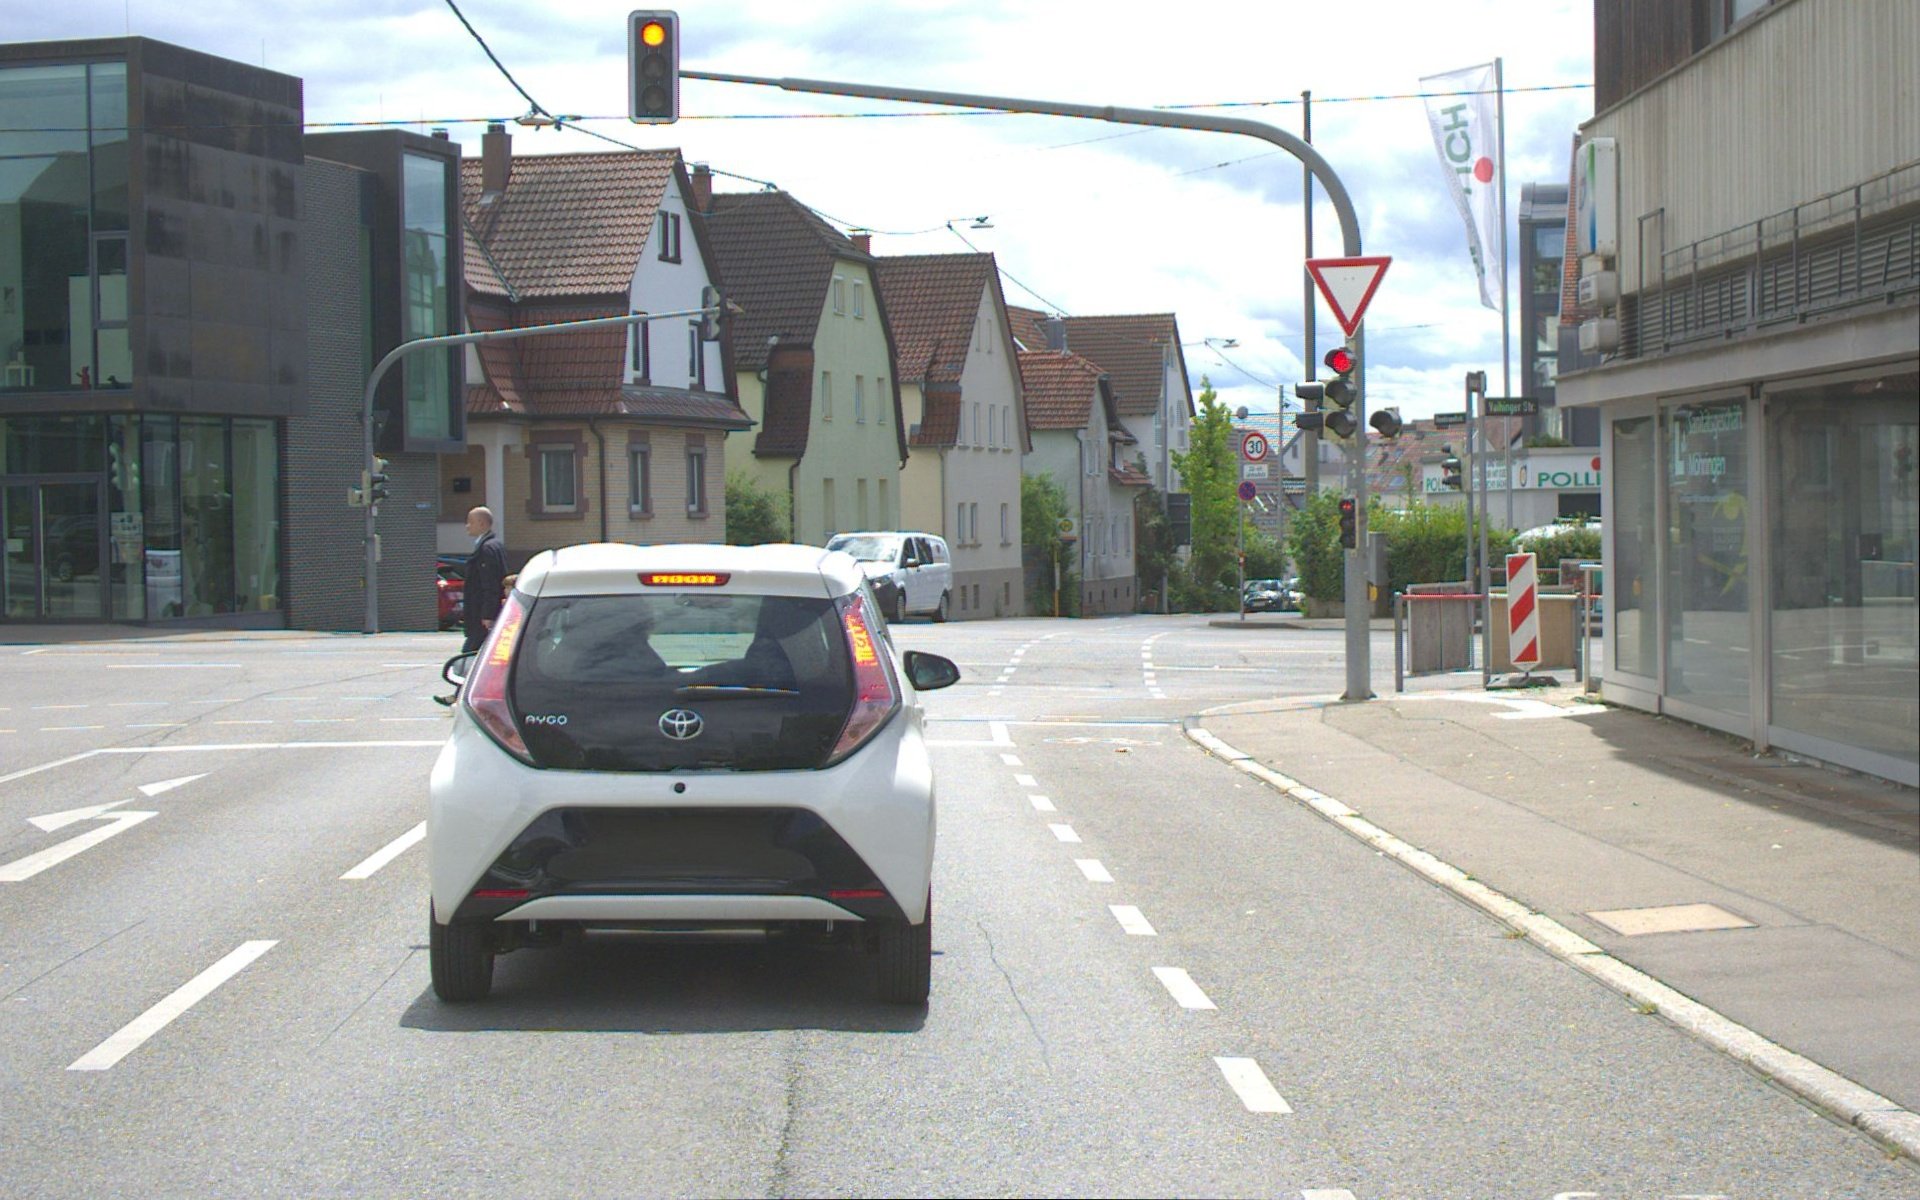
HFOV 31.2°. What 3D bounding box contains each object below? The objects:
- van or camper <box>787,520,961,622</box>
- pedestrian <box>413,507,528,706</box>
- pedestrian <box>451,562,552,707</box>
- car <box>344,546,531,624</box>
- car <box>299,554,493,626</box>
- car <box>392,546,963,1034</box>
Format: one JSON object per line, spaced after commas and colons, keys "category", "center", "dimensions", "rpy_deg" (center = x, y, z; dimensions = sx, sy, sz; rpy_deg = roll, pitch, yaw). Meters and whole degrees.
{"category": "van or camper", "center": [-1.662, -0.598, 68.709], "dimensions": [2.117, 1.919, 5.282], "rpy_deg": [1, 1, 14]}
{"category": "pedestrian", "center": [-4.299, 0.047, 30.165], "dimensions": [0.822, 1.715, 0.818], "rpy_deg": [-1, 1, -21]}
{"category": "pedestrian", "center": [-3.941, 0.292, 29.520], "dimensions": [0.733, 1.217, 0.646], "rpy_deg": [-1, 1, -20]}
{"category": "car", "center": [-11.246, -0.332, 74.111], "dimensions": [3.616, 1.600, 1.691], "rpy_deg": [1, 1, 11]}
{"category": "car", "center": [-11.775, -0.214, 71.831], "dimensions": [3.616, 1.414, 1.691], "rpy_deg": [1, 1, 11]}
{"category": "car", "center": [-0.931, 0.552, 12.028], "dimensions": [1.697, 1.451, 3.299], "rpy_deg": [1, 1, -3]}
